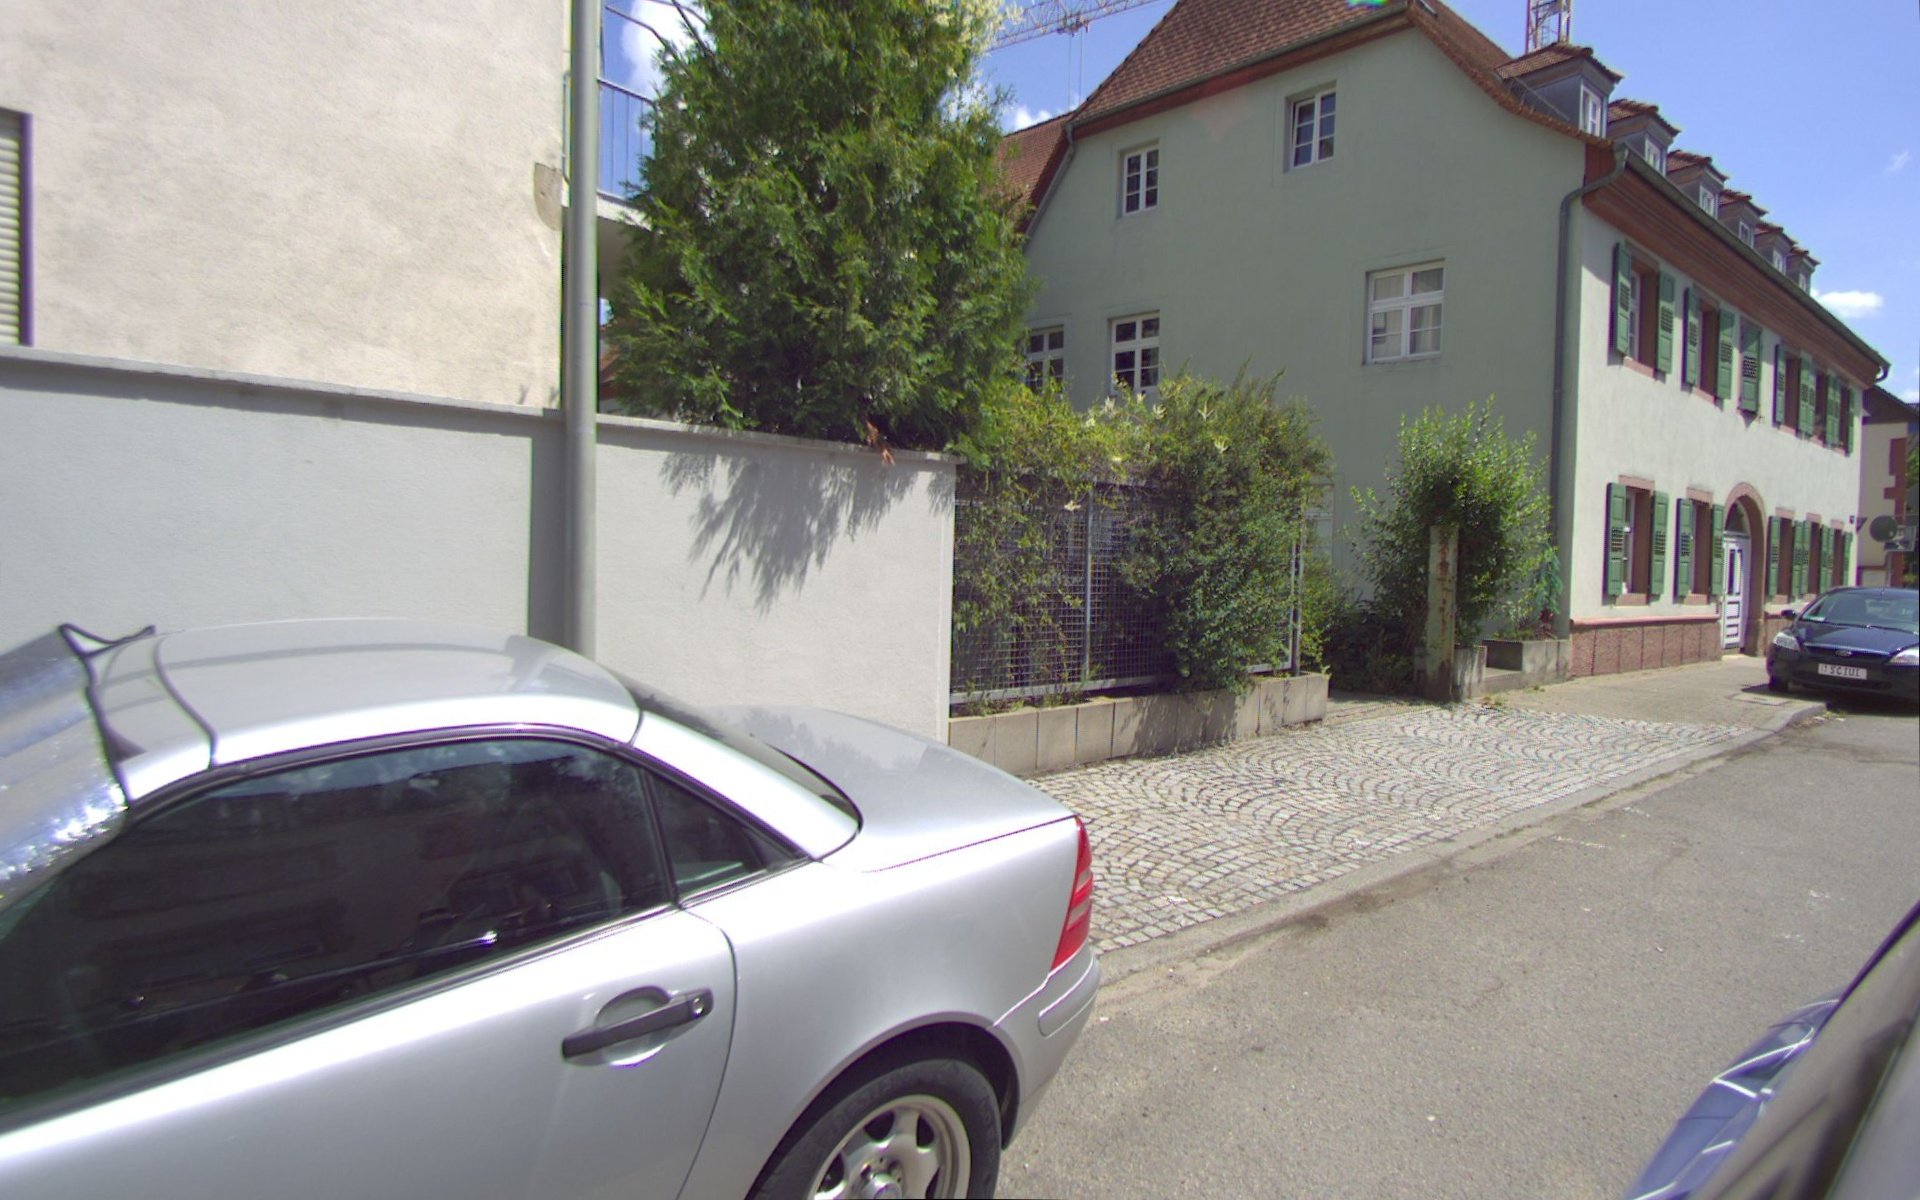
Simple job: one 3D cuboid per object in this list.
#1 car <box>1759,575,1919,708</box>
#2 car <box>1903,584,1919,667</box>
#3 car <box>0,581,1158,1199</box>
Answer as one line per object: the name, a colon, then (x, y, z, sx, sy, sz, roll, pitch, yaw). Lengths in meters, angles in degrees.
car: (12.477, 0.470, 13.580, 3.927, 1.534, 1.852, 0, 2, -38)
car: (19.552, 0.489, 19.385, 3.928, 1.516, 1.651, 0, 3, -40)
car: (-1.529, 0.701, 1.656, 3.755, 1.369, 1.589, -1, 4, -40)
